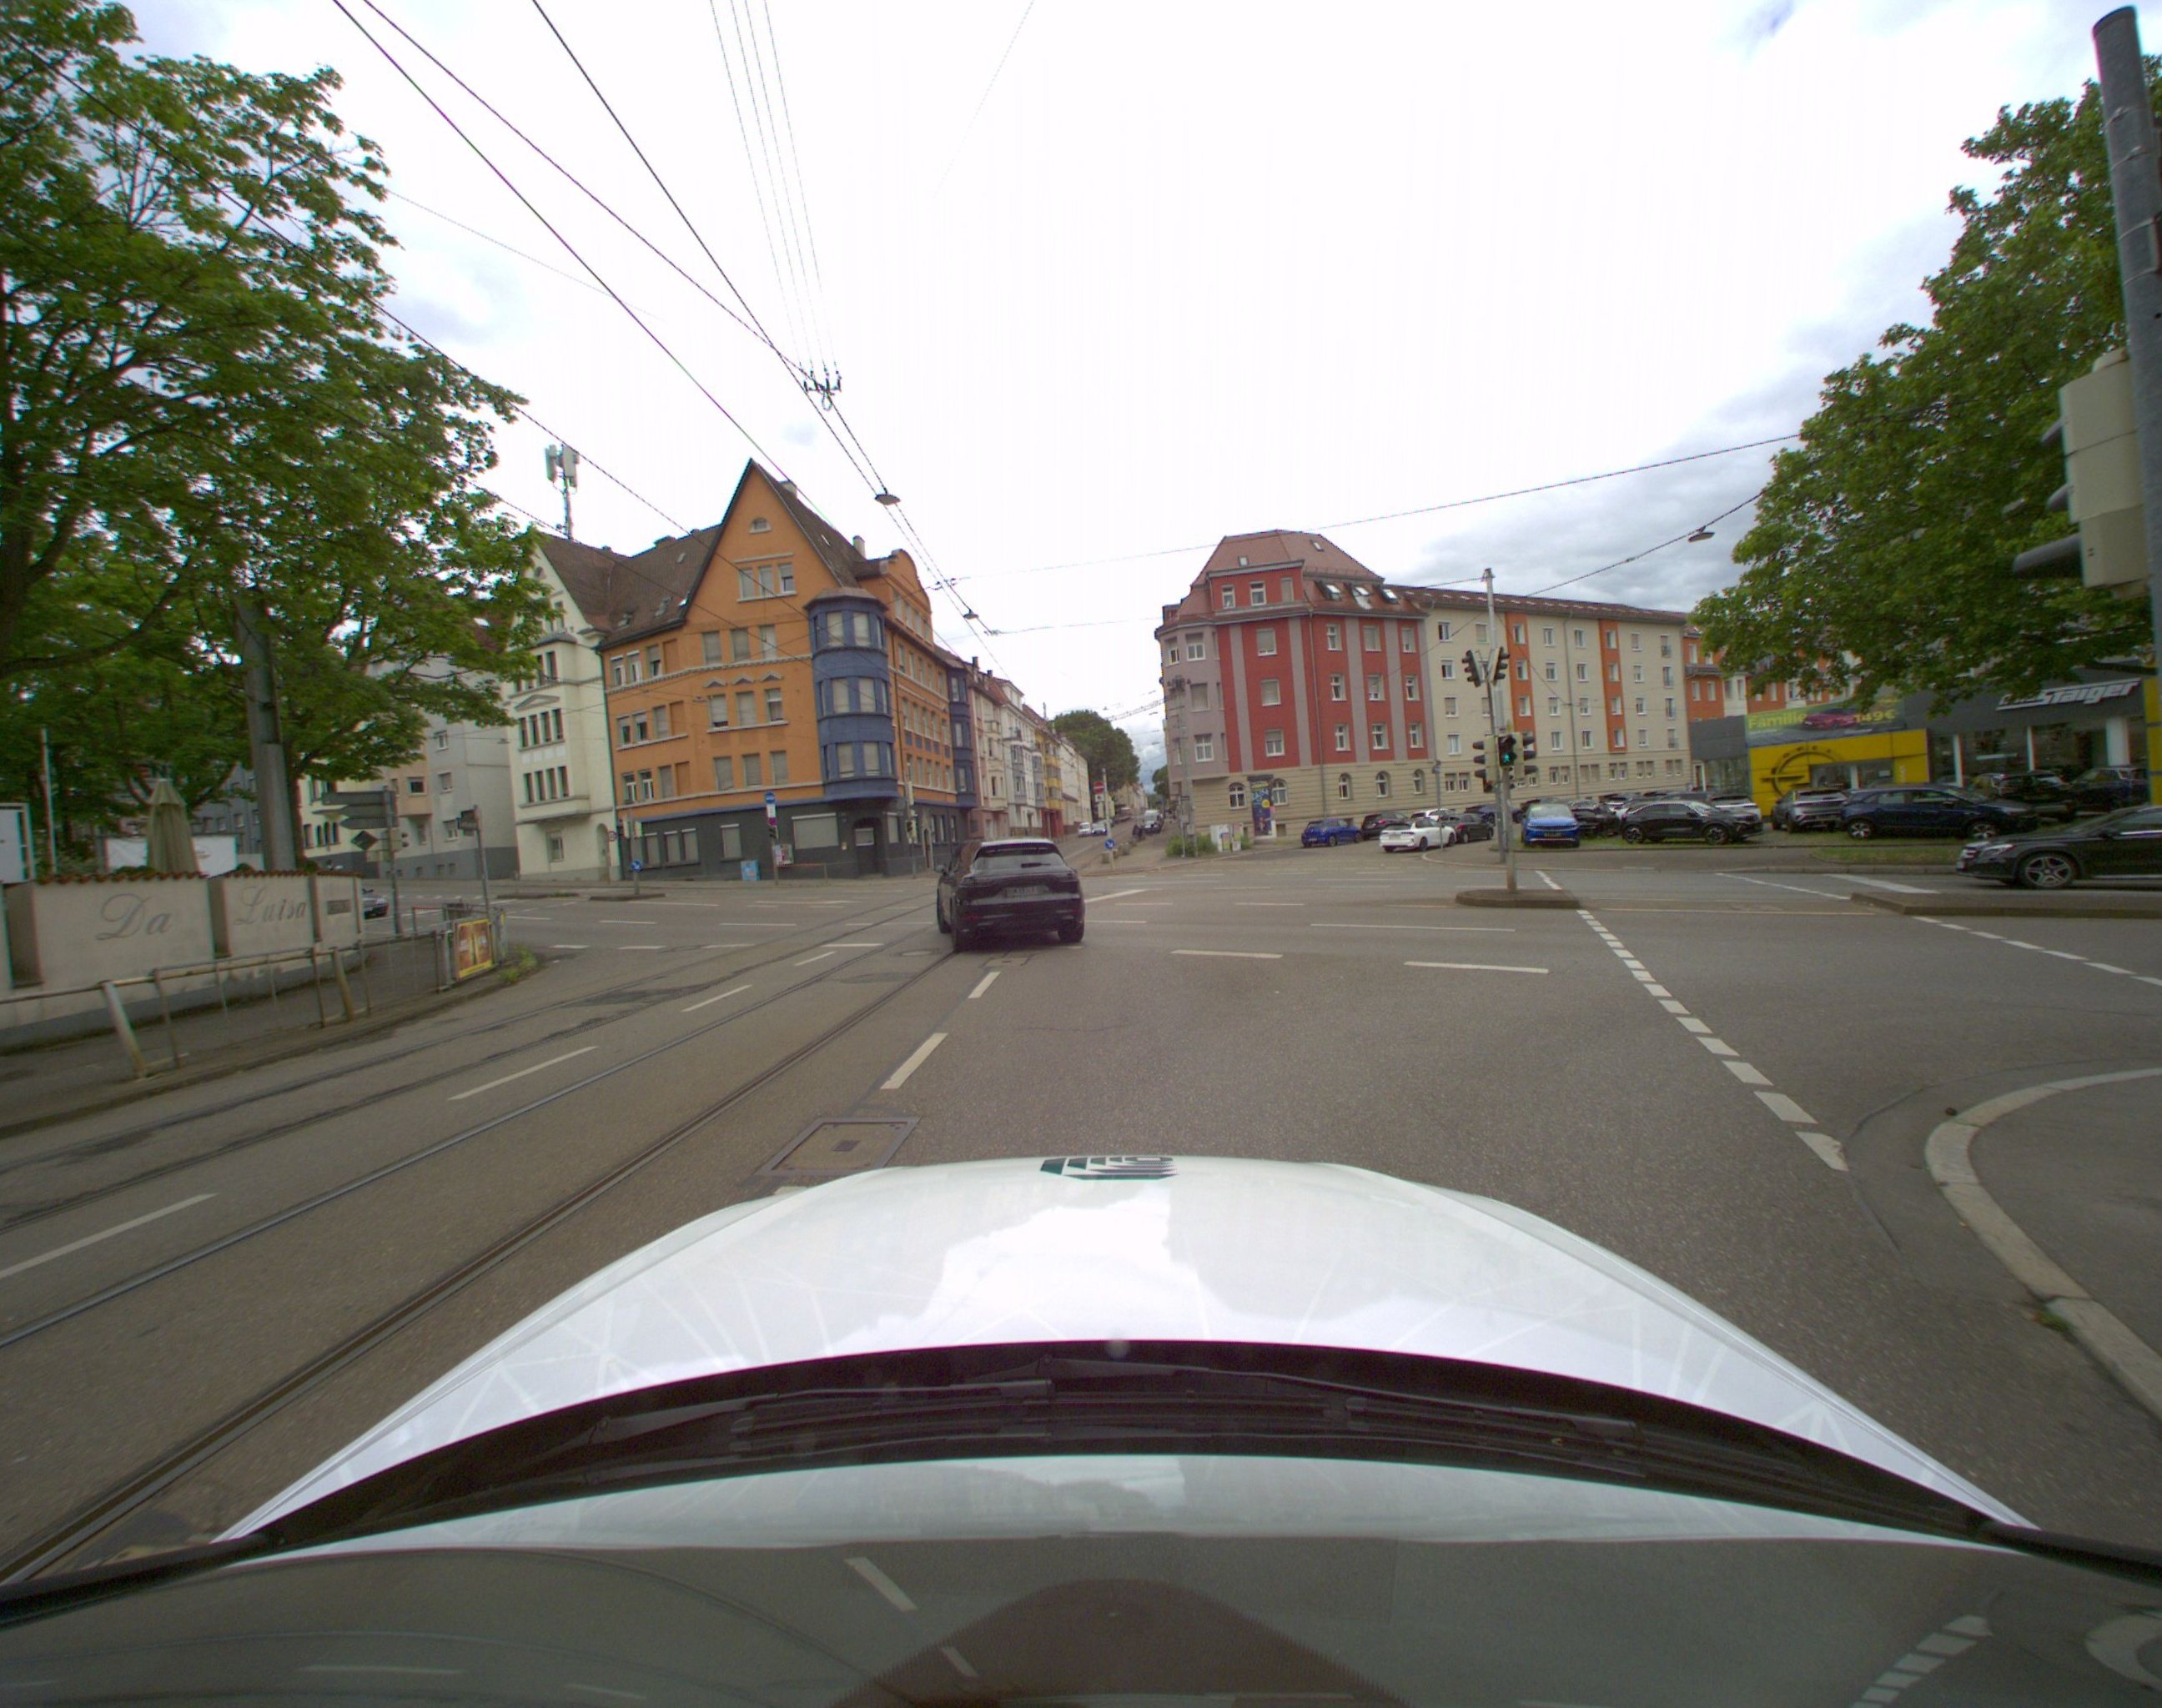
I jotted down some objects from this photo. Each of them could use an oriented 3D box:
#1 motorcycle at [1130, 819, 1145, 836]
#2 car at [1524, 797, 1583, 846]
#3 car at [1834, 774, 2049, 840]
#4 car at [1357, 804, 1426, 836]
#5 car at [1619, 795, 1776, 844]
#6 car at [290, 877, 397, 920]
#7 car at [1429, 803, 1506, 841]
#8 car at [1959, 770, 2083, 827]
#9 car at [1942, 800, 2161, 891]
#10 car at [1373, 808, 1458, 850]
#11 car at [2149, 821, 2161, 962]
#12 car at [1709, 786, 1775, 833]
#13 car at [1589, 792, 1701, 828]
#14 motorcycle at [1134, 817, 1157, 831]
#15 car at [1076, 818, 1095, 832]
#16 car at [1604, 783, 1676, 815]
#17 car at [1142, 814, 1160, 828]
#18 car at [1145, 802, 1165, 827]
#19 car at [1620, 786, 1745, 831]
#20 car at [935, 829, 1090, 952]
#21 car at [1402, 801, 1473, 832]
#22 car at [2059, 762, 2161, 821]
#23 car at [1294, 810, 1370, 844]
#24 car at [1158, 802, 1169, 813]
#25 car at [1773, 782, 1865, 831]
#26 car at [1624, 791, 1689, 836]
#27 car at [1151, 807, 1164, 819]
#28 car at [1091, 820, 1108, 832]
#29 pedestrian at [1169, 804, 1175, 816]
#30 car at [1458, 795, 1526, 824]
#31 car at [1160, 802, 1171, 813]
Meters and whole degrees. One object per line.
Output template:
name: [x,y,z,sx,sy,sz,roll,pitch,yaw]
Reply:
motorcycle: [4.890,-2.288,71.019,0.858,1.326,2.182,-10,3,-2]
car: [17.855,-1.276,30.906,1.806,1.576,4.288,-1,5,29]
car: [25.750,-1.422,24.537,1.836,1.606,4.131,-11,8,-29]
car: [18.332,-2.023,48.025,4.162,1.534,1.897,-7,5,-38]
car: [21.379,-1.239,28.397,1.835,1.476,3.964,-6,5,-29]
car: [-27.825,1.620,30.707,4.181,1.280,1.820,-1,6,32]
car: [19.219,-1.600,40.462,4.164,1.534,1.896,-7,5,-41]
car: [29.274,-1.771,25.491,1.839,1.549,4.027,-1,4,39]
car: [18.819,-0.173,14.705,4.202,1.526,2.013,-1,2,37]
car: [15.180,-1.158,36.829,4.165,1.534,1.895,-7,5,-42]
car: [12.677,0.367,7.148,3.711,1.447,1.768,-2,2,16]
car: [25.178,-1.738,31.050,1.839,1.549,4.027,-1,4,39]
car: [27.326,-2.089,39.549,1.802,1.534,4.075,-6,4,-33]
motorcycle: [6.421,-3.021,81.502,2.172,1.326,0.699,-3,2,-4]
car: [0.571,-3.844,106.788,1.983,1.692,4.009,-2,2,7]
car: [33.624,-3.297,48.968,4.154,1.644,1.900,-6,4,-29]
car: [8.170,-3.839,94.392,1.830,1.568,3.828,-2,2,7]
car: [9.117,-4.901,100.086,2.255,2.889,4.780,-2,2,7]
car: [26.625,-1.993,36.155,1.723,1.780,4.195,-7,5,-42]
car: [-1.326,0.474,13.598,2.025,1.641,4.338,-2,1,-12]
car: [22.500,-2.390,51.402,4.153,1.632,1.901,-6,4,-28]
car: [31.028,-1.883,23.962,1.839,1.549,4.027,-2,4,35]
car: [13.784,-1.490,44.639,4.163,1.534,1.896,-7,5,-39]
car: [17.714,-10.016,175.071,2.255,2.183,4.780,-2,2,7]
car: [26.218,-1.727,29.073,1.839,1.549,4.027,-2,4,34]
car: [22.918,-1.639,32.379,1.839,1.549,4.027,-1,4,39]
car: [15.097,-8.176,161.249,2.255,2.183,4.780,-2,2,7]
car: [2.277,-3.435,100.635,1.677,1.326,3.670,-2,2,7]
pedestrian: [13.601,-6.555,121.553,0.674,1.632,0.677,-3,-1,16]
car: [27.029,-2.921,53.523,4.153,1.632,1.901,-6,4,-28]
car: [18.778,-10.324,181.267,2.255,2.183,4.780,-2,2,7]
